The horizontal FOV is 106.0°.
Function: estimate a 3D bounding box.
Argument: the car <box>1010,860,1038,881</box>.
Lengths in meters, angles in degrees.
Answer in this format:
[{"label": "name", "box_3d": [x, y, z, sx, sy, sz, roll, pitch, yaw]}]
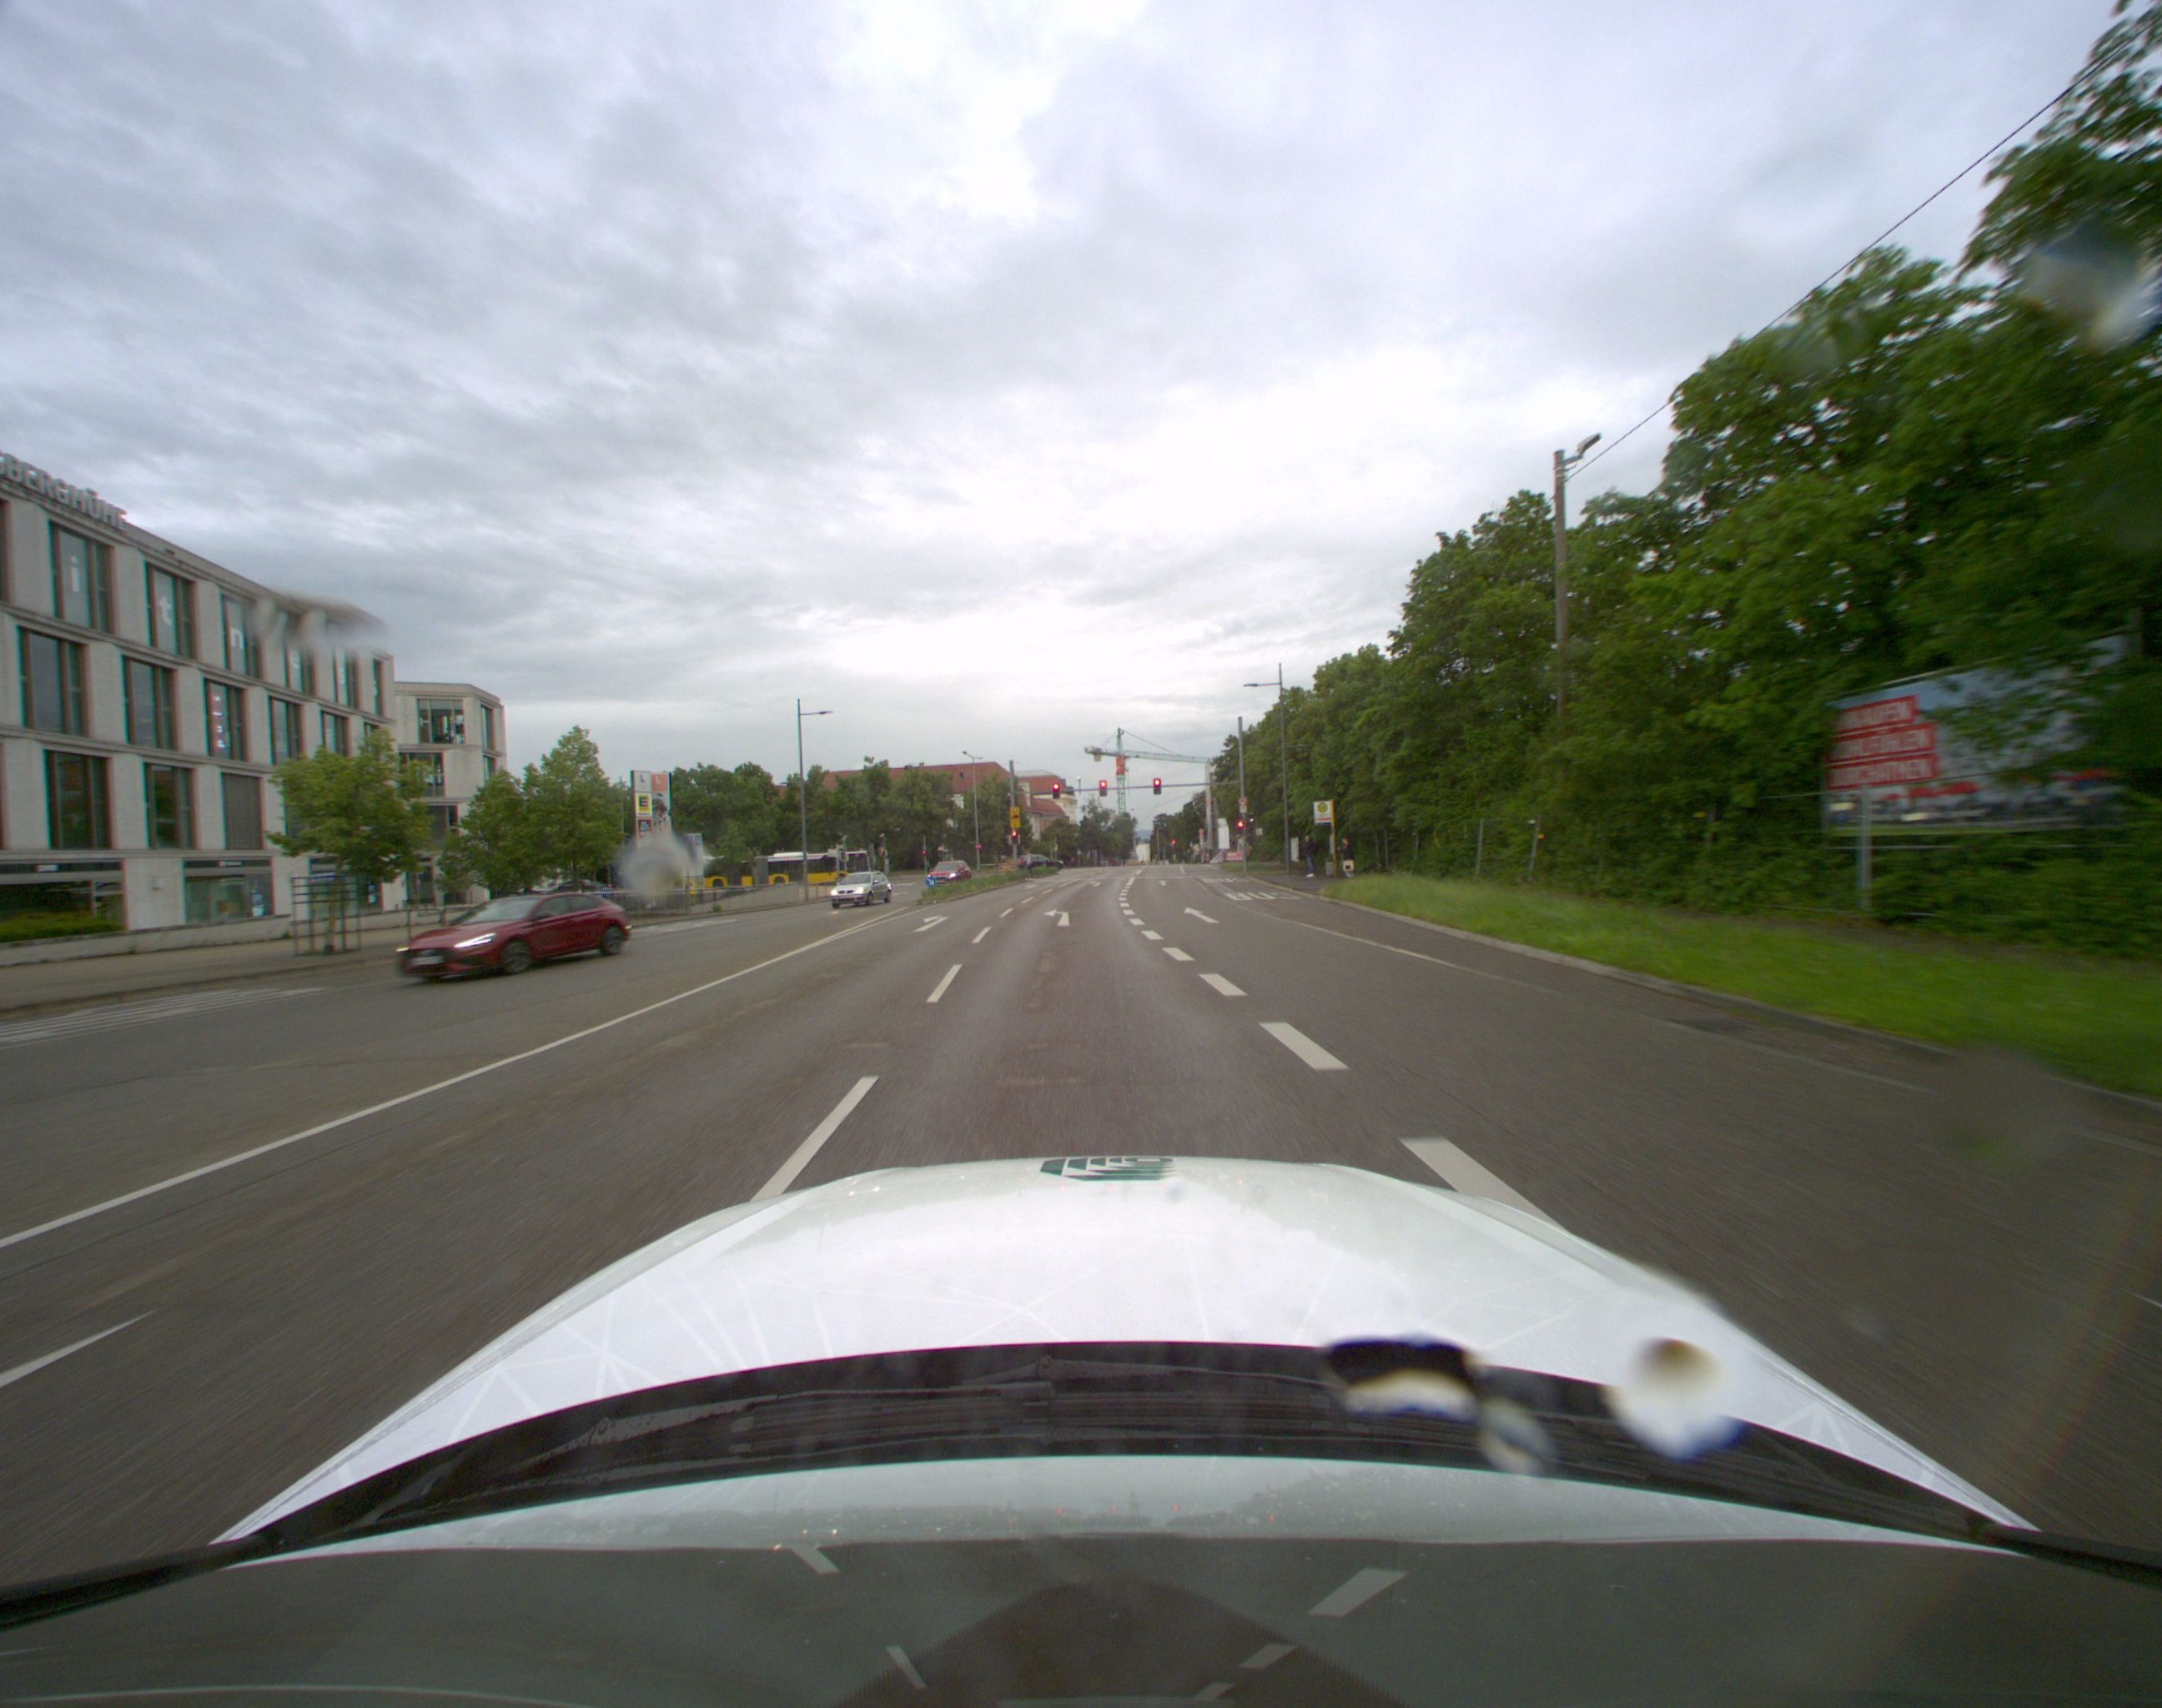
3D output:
[{"label": "car", "box_3d": [-5.440, 1.606, 78.010, 1.935, 2.021, 4.556, -1, -2, 5]}]

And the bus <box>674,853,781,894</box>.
[{"label": "bus", "box_3d": [-32.336, 1.754, 74.603, 8.506, 3.307, 2.902, -3, 0, 5]}]

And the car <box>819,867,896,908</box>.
[{"label": "car", "box_3d": [-9.312, 1.347, 34.258, 1.754, 1.416, 3.884, -5, 0, 5]}]

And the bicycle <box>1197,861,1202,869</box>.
[{"label": "bicycle", "box_3d": [18.208, 1.624, 125.280, 0.716, 1.193, 1.759, -1, -2, 7]}]

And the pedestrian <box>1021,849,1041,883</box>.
[{"label": "pedestrian", "box_3d": [-3.161, 0.745, 51.503, 0.934, 2.013, 0.849, -5, -1, 10]}]

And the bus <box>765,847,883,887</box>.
[{"label": "bus", "box_3d": [-23.262, 1.158, 73.851, 9.673, 3.103, 2.903, -3, 0, 7]}]

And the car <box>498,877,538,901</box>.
[{"label": "car", "box_3d": [-45.034, 2.769, 65.204, 1.781, 1.731, 3.969, -2, 0, -23]}]

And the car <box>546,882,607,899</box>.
[{"label": "car", "box_3d": [-47.159, 3.409, 76.207, 4.427, 1.425, 2.002, -2, 0, 3]}]

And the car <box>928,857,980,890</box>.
[{"label": "car", "box_3d": [-7.498, 1.098, 48.428, 1.844, 1.683, 4.744, -5, 0, 5]}]

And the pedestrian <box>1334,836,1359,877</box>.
[{"label": "pedestrian", "box_3d": [10.840, 0.104, 33.291, 0.673, 1.658, 0.793, -3, 0, -1]}]

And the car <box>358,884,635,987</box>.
[{"label": "car", "box_3d": [-11.032, 1.449, 15.889, 1.823, 1.416, 4.472, -5, 0, 5]}]

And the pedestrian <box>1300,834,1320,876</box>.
[{"label": "pedestrian", "box_3d": [10.641, 0.051, 37.866, 0.638, 1.901, 0.718, -3, 0, -1]}]

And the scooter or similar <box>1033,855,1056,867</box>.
[{"label": "scooter or similar", "box_3d": [-5.047, 0.958, 112.142, 3.075, 1.440, 0.949, -3, 0, 3]}]

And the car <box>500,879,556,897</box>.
[{"label": "car", "box_3d": [-49.806, 3.040, 73.386, 3.950, 1.425, 1.670, -2, 0, 3]}]

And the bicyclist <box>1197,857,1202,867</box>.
[{"label": "bicyclist", "box_3d": [18.207, 1.253, 125.294, 0.716, 1.564, 1.145, -1, -2, 7]}]
